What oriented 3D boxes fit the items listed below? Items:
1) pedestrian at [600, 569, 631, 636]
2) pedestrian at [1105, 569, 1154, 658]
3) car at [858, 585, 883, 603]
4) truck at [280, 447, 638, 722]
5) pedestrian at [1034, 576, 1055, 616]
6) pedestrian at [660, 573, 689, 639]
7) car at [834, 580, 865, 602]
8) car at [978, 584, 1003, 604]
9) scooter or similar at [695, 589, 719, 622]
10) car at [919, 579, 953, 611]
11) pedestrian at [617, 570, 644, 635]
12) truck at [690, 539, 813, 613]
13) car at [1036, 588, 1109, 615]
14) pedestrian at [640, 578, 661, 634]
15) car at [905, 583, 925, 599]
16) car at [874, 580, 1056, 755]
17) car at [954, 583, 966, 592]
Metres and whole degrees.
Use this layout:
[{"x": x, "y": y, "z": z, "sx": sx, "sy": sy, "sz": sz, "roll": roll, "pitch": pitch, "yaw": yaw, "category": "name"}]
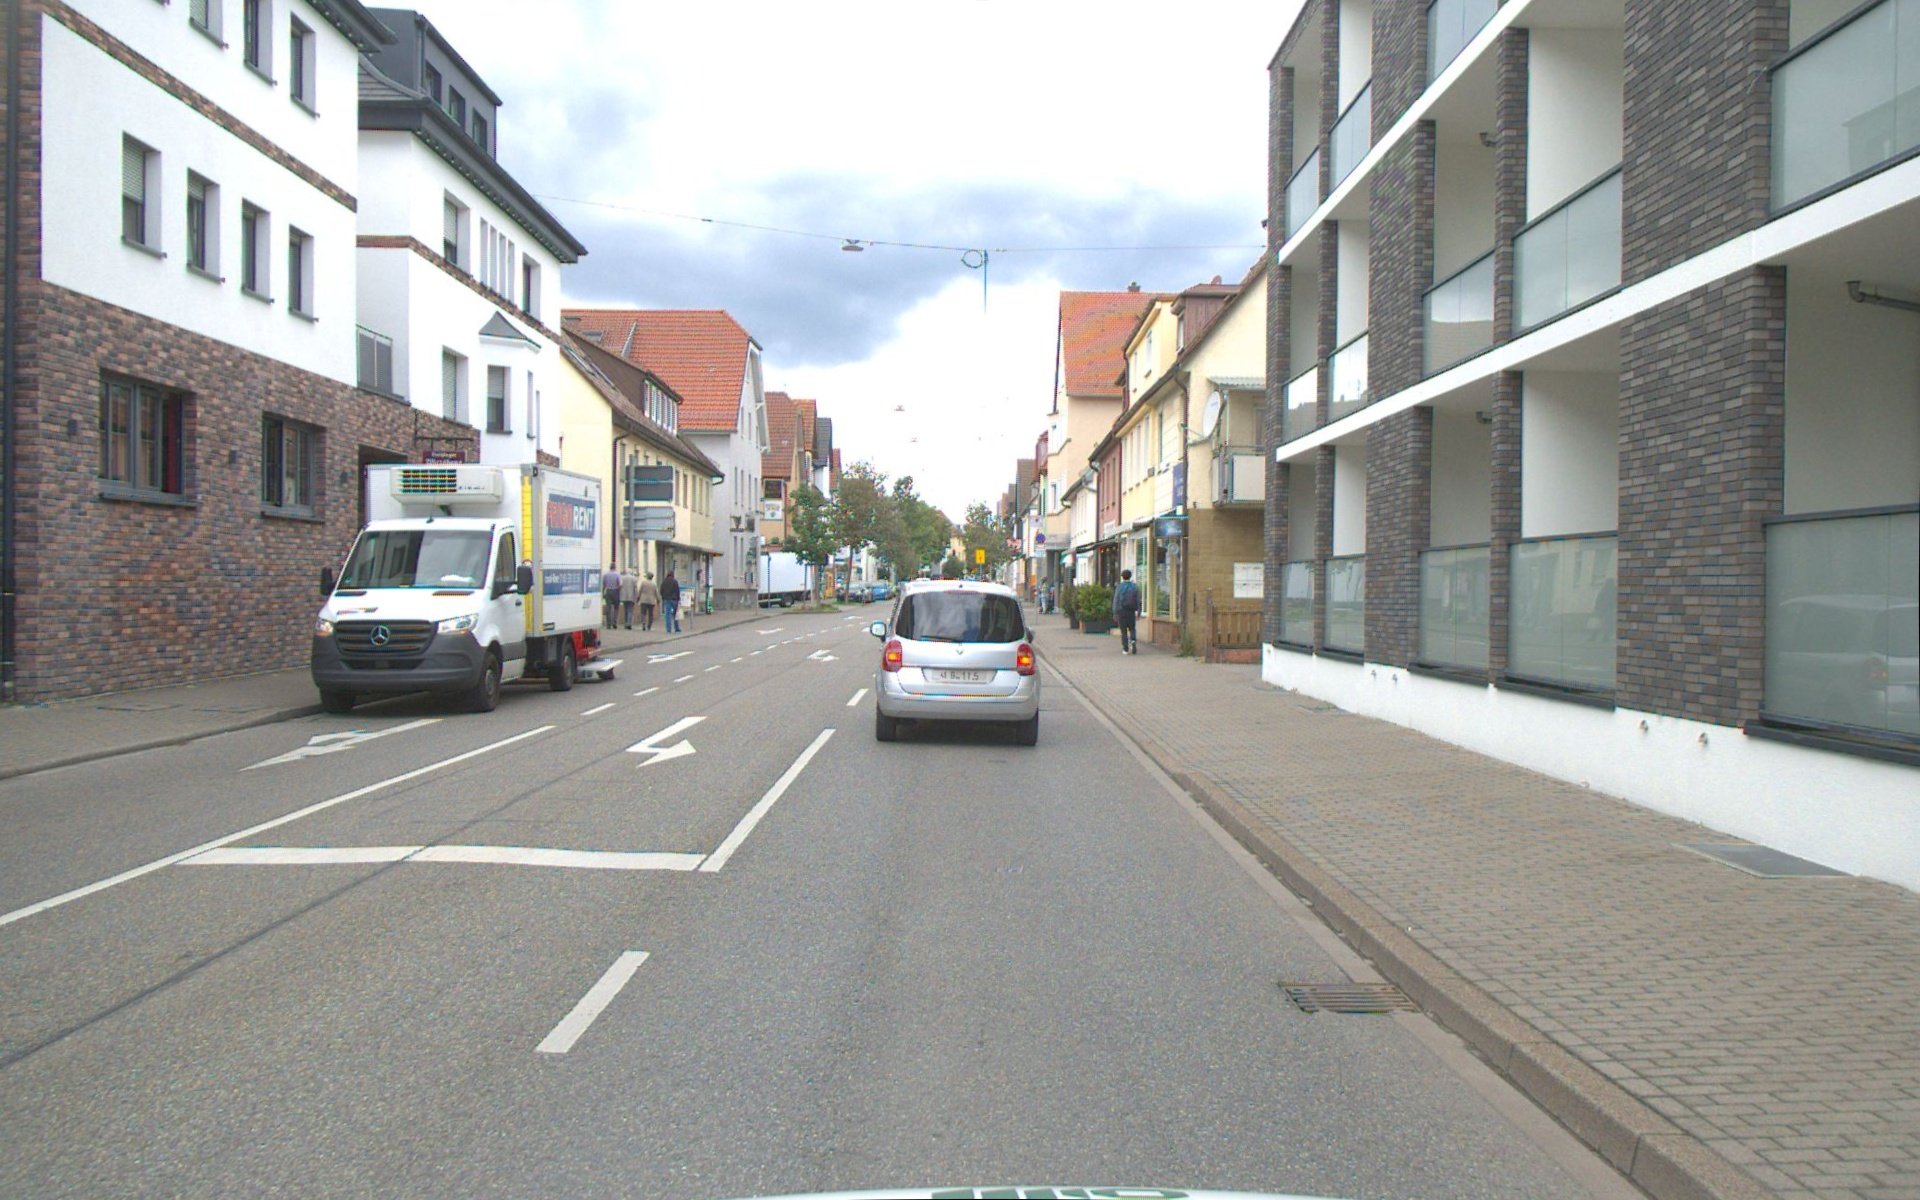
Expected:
[{"x": -9.406, "y": 0.052, "z": 45.141, "sx": 0.634, "sy": 1.787, "sz": 0.688, "roll": 2, "pitch": 1, "yaw": 0, "category": "pedestrian"}, {"x": 3.564, "y": 0.280, "z": 34.846, "sx": 0.871, "sy": 1.818, "sz": 0.785, "roll": -2, "pitch": 1, "yaw": 0, "category": "pedestrian"}, {"x": -7.326, "y": -0.514, "z": 135.788, "sx": 1.775, "sy": 1.378, "sz": 4.000, "roll": 0, "pitch": 1, "yaw": 0, "category": "car"}, {"x": -6.309, "y": -0.220, "z": 22.331, "sx": 2.385, "sy": 3.005, "sz": 8.363, "roll": 0, "pitch": 1, "yaw": -1, "category": "truck"}, {"x": 3.984, "y": -0.190, "z": 77.748, "sx": 0.871, "sy": 1.818, "sz": 0.785, "roll": -2, "pitch": 1, "yaw": 0, "category": "pedestrian"}, {"x": -7.921, "y": 0.162, "z": 45.894, "sx": 0.649, "sy": 1.787, "sz": 0.688, "roll": 2, "pitch": 1, "yaw": 0, "category": "pedestrian"}, {"x": -7.240, "y": -0.608, "z": 109.037, "sx": 1.775, "sy": 1.378, "sz": 4.000, "roll": 0, "pitch": 1, "yaw": 0, "category": "car"}, {"x": 2.196, "y": -0.456, "z": 119.920, "sx": 1.775, "sy": 1.378, "sz": 4.000, "roll": 0, "pitch": 1, "yaw": 0, "category": "car"}, {"x": -10.135, "y": 0.208, "z": 66.361, "sx": 0.564, "sy": 1.291, "sz": 2.548, "roll": 0, "pitch": 1, "yaw": 0, "category": "scooter or similar"}, {"x": -1.266, "y": -0.275, "z": 86.272, "sx": 1.672, "sy": 1.606, "sz": 3.999, "roll": 2, "pitch": 1, "yaw": -1, "category": "car"}, {"x": -9.232, "y": 0.058, "z": 46.326, "sx": 0.567, "sy": 1.787, "sz": 0.688, "roll": 2, "pitch": 1, "yaw": 0, "category": "pedestrian"}, {"x": -11.456, "y": -1.320, "z": 91.417, "sx": 2.558, "sy": 3.925, "sz": 6.808, "roll": 0, "pitch": 1, "yaw": 42, "category": "truck"}, {"x": 6.203, "y": 0.056, "z": 91.144, "sx": 3.677, "sy": 1.337, "sz": 1.511, "roll": 2, "pitch": 1, "yaw": -22, "category": "car"}, {"x": -8.633, "y": 0.167, "z": 46.150, "sx": 0.417, "sy": 1.552, "sz": 0.553, "roll": 2, "pitch": 1, "yaw": 0, "category": "pedestrian"}, {"x": -4.128, "y": -0.818, "z": 151.916, "sx": 1.775, "sy": 1.378, "sz": 3.857, "roll": 0, "pitch": 1, "yaw": 0, "category": "car"}, {"x": 0.019, "y": 0.621, "z": 17.745, "sx": 1.672, "sy": 1.606, "sz": 3.999, "roll": 2, "pitch": 1, "yaw": -1, "category": "car"}, {"x": -0.011, "y": -1.917, "z": 250.365, "sx": 1.775, "sy": 1.378, "sz": 4.000, "roll": 0, "pitch": 1, "yaw": 0, "category": "car"}]
